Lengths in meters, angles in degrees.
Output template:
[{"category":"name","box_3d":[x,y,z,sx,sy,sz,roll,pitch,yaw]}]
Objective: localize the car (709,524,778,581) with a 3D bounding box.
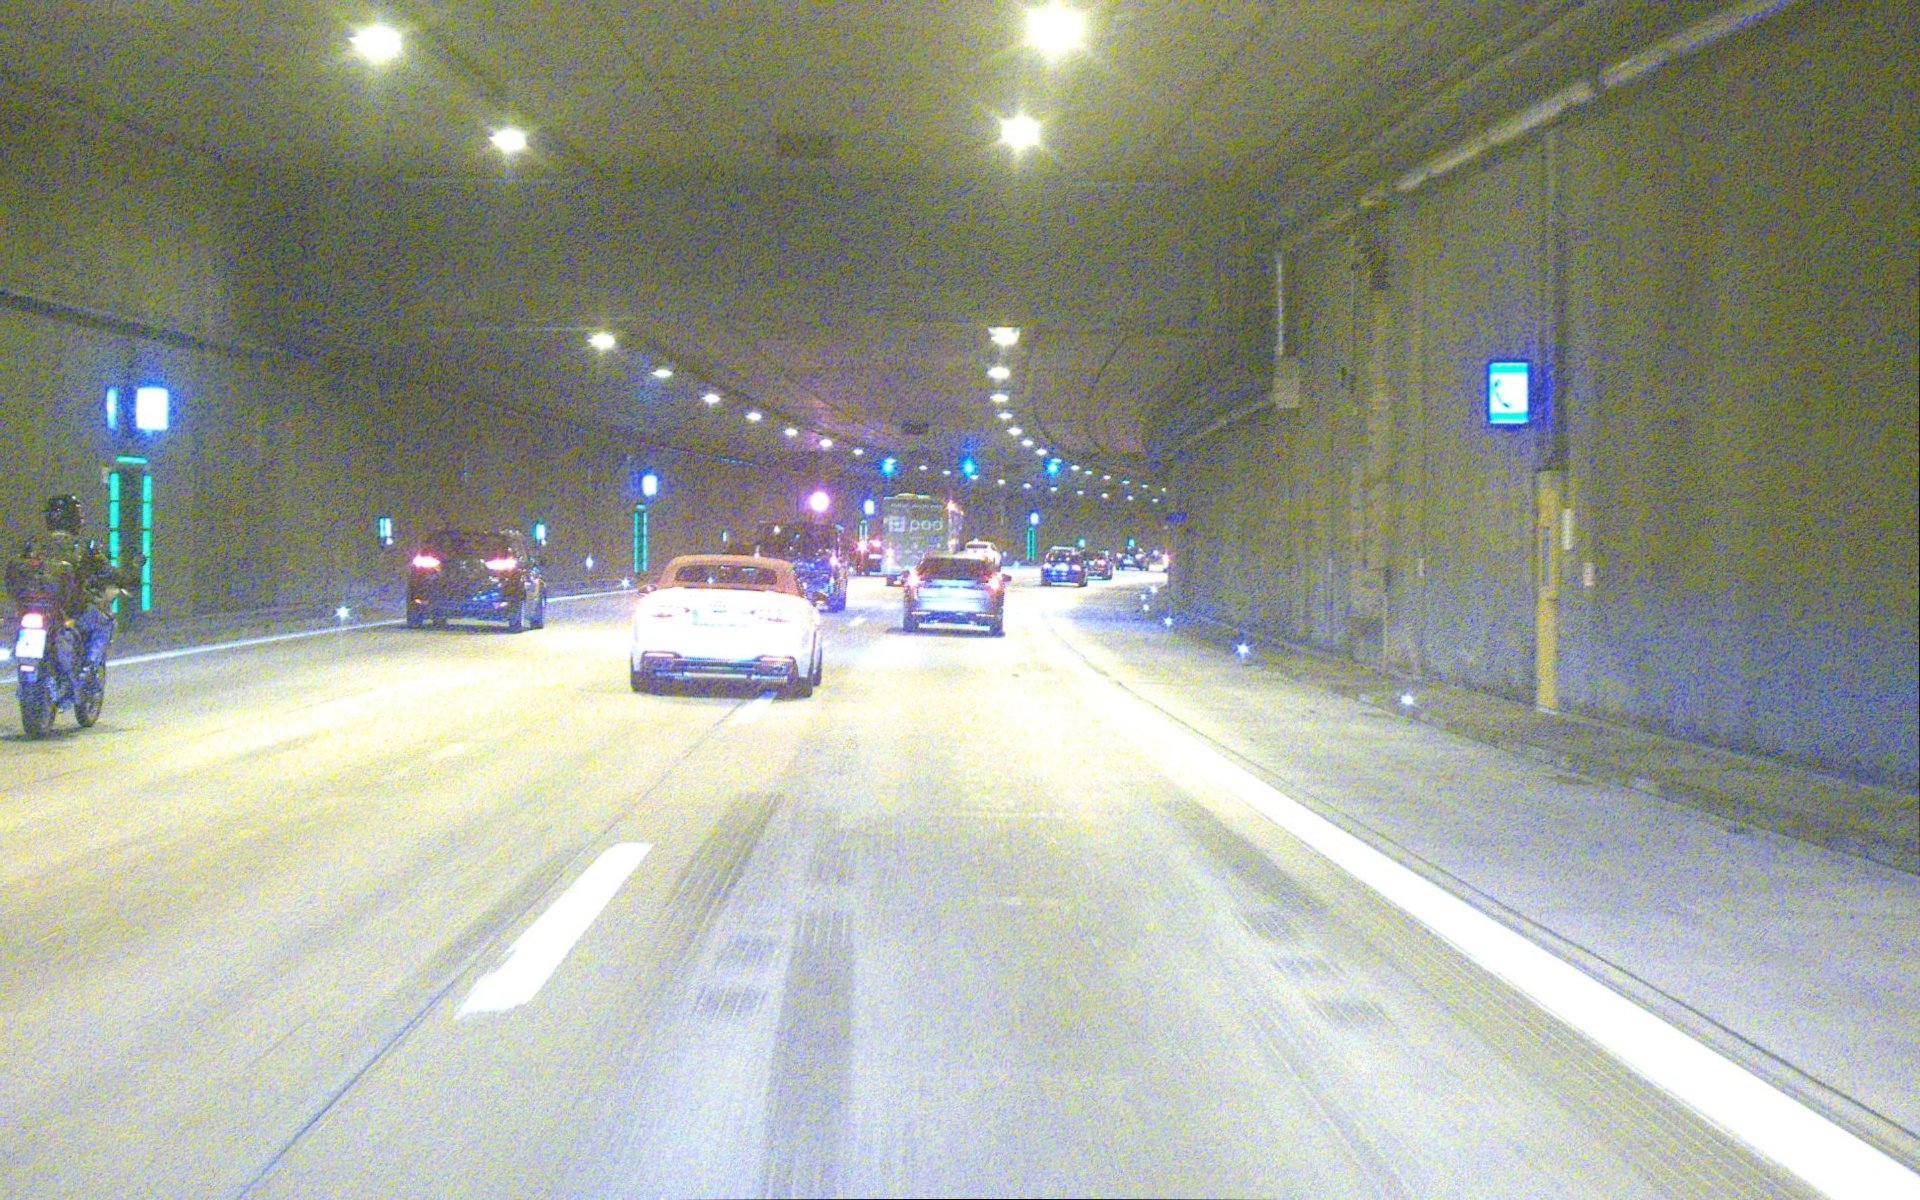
[{"category":"car","box_3d":[-6.609,-1.452,105.258,1.800,1.678,4.000,-1,1,0]}]

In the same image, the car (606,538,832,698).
[{"category":"car","box_3d":[-2.403,0.145,35.234,1.993,1.478,4.000,2,1,0]}]

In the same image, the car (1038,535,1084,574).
[{"category":"car","box_3d":[4.116,-1.872,140.694,1.844,1.562,4.000,0,1,1]}]

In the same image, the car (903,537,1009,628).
[{"category":"car","box_3d":[-0.104,-0.346,62.525,1.839,1.596,4.000,0,1,-1]}]

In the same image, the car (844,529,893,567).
[{"category":"car","box_3d":[-3.860,-2.209,145.508,1.843,1.598,4.000,0,1,1]}]

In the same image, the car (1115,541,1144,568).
[{"category":"car","box_3d":[10.691,-2.867,216.626,1.833,1.685,4.000,0,1,3]}]

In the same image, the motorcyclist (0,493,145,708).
[{"category":"motorcyclist","box_3d":[-6.327,-0.005,24.388,0.839,1.472,0.821,-2,1,0]}]

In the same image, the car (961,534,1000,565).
[{"category":"car","box_3d":[1.086,-2.635,179.651,1.830,1.612,4.000,0,1,3]}]

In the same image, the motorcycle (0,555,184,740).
[{"category":"motorcycle","box_3d":[-6.279,0.306,24.627,0.845,1.241,2.604,0,1,0]}]

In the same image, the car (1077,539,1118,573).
[{"category":"car","box_3d":[6.727,-2.170,168.392,1.858,1.660,4.000,0,1,0]}]

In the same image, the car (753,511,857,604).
[{"category":"car","box_3d":[-3.384,-0.943,75.823,1.993,1.965,4.000,1,1,1]}]

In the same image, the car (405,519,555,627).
[{"category":"car","box_3d":[-7.365,-0.438,53.043,1.785,1.593,3.801,0,1,0]}]

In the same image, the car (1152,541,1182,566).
[{"category":"car","box_3d":[12.823,-2.878,213.278,1.844,1.546,4.000,0,1,3]}]

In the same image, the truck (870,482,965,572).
[{"category":"truck","box_3d":[-1.486,-2.715,125.416,3.083,3.102,10.029,-1,2,1]}]
